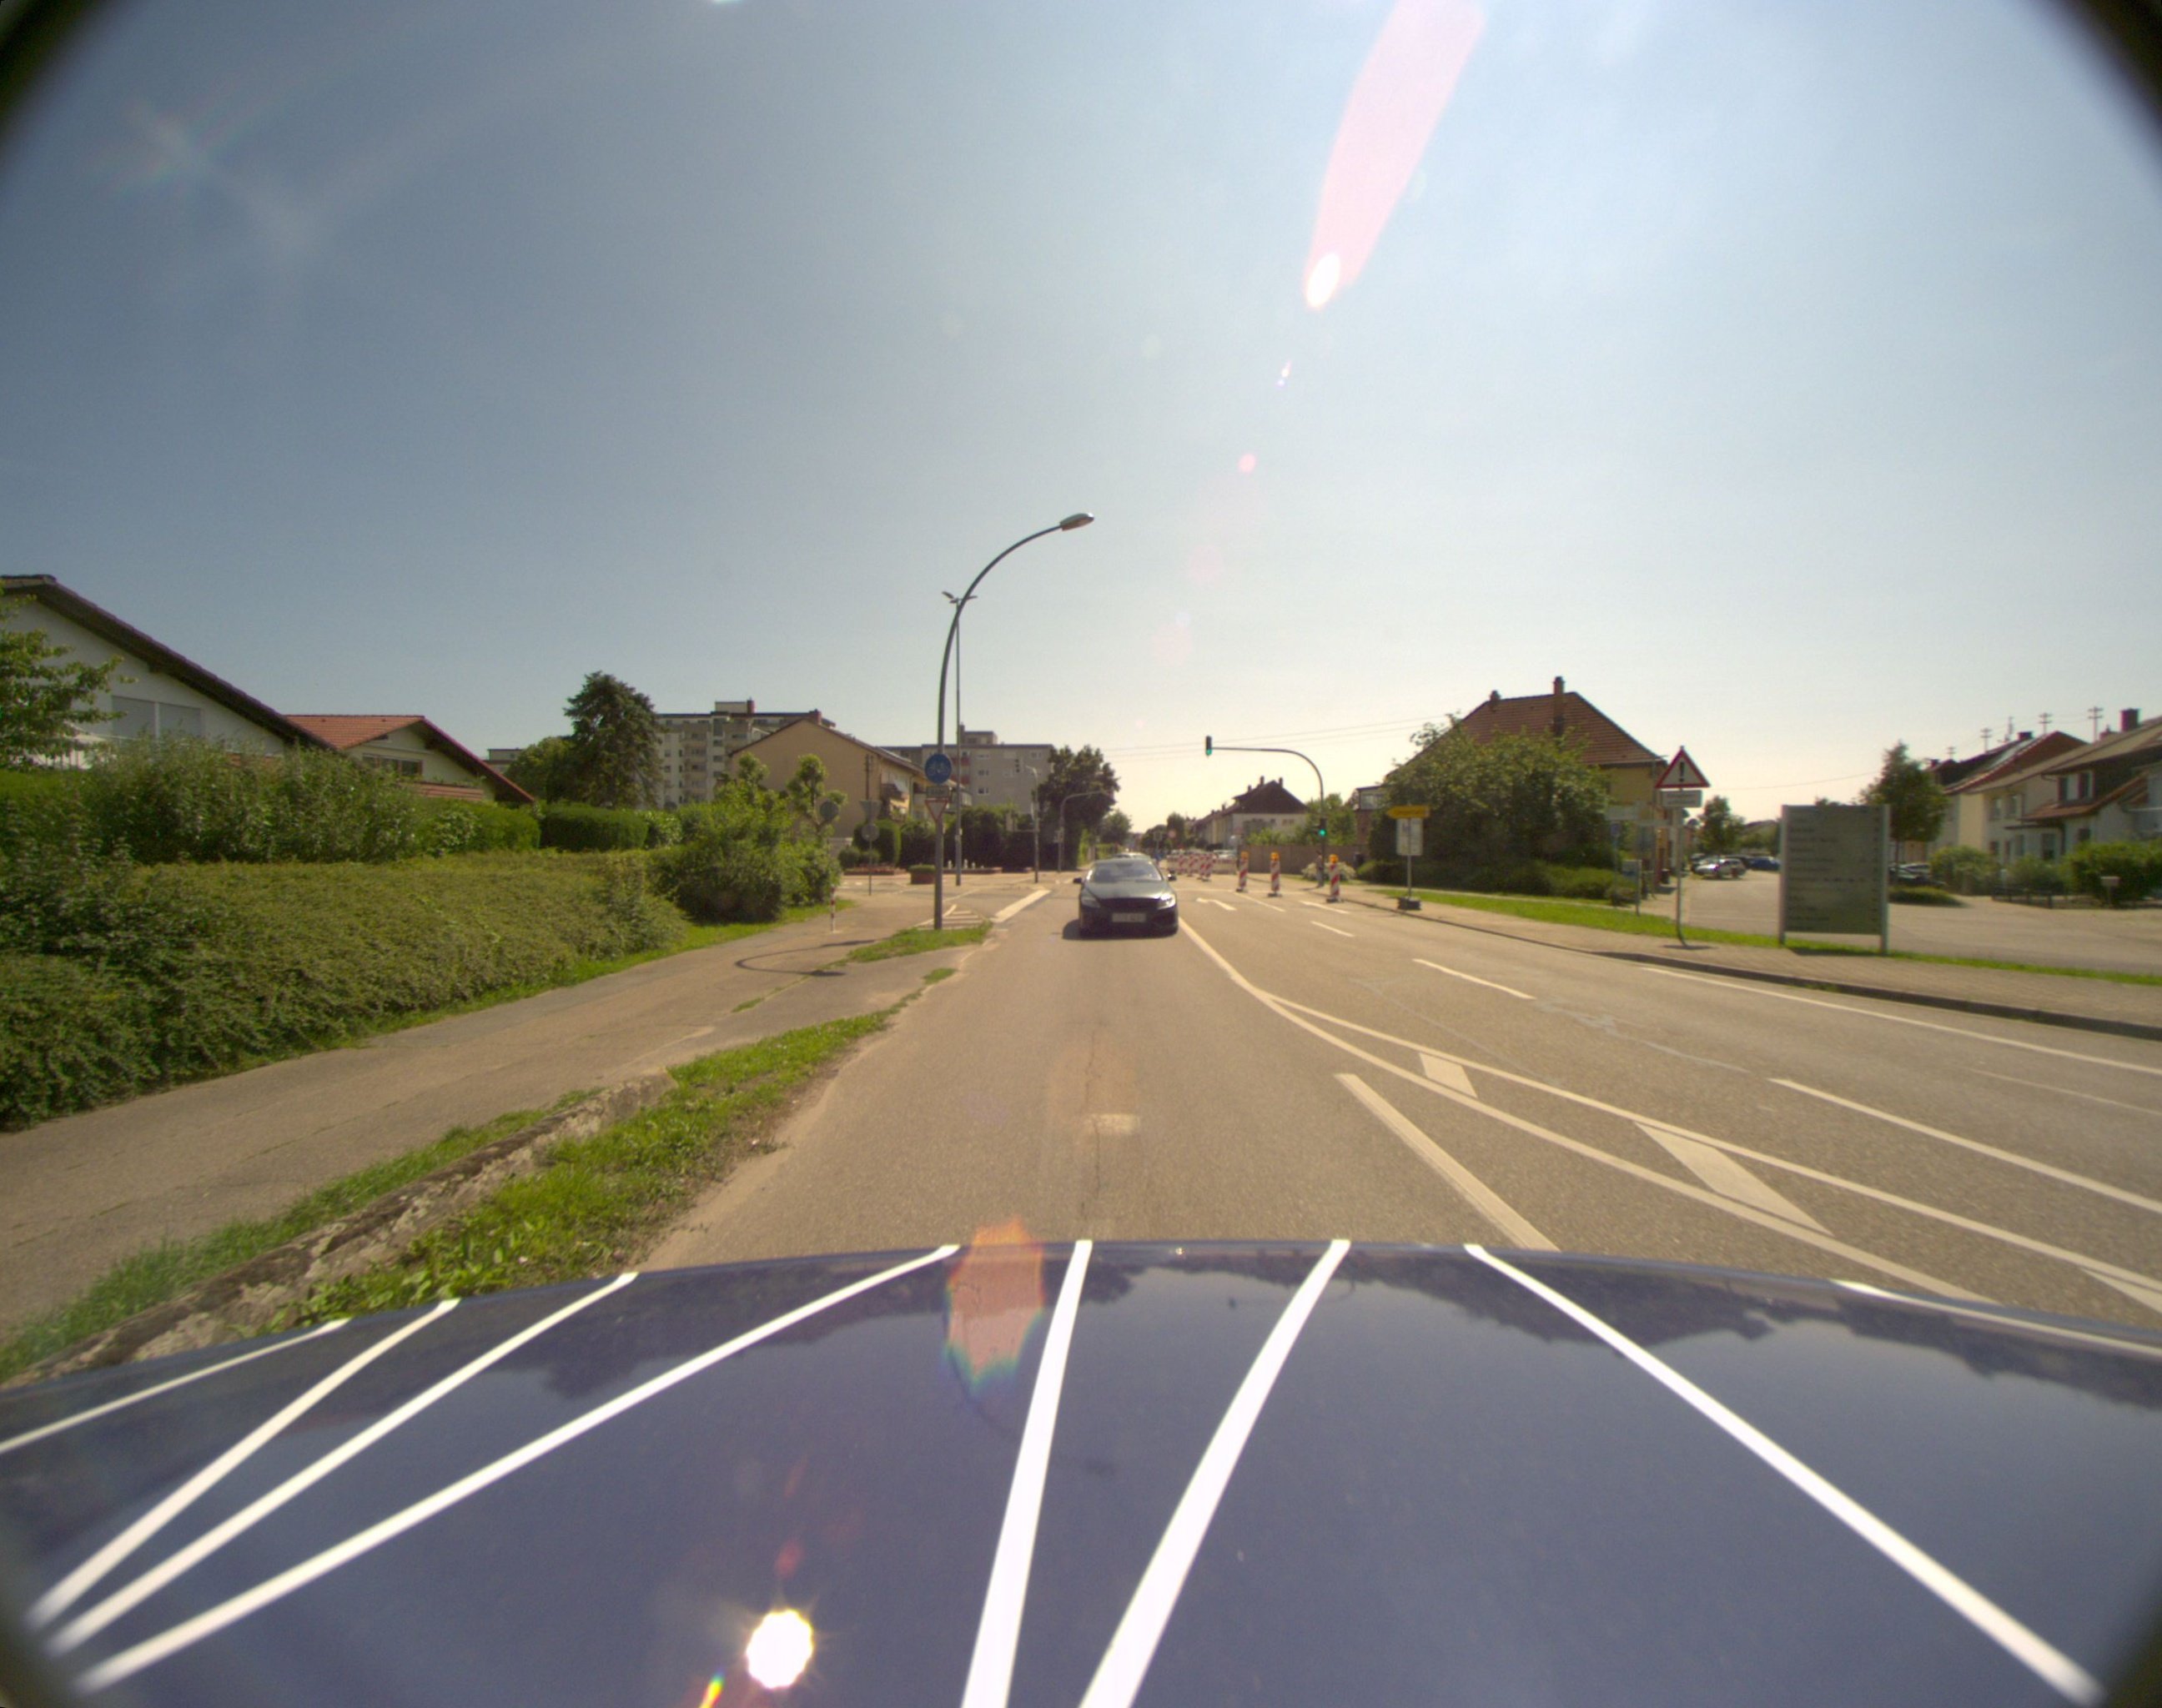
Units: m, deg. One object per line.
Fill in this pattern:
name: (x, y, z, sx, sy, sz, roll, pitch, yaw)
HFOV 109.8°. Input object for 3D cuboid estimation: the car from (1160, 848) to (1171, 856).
car: (15.724, -0.401, 141.912, 1.739, 1.409, 3.916, 0, 1, 1)

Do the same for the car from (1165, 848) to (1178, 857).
car: (14.519, -0.245, 122.285, 1.739, 1.504, 3.916, 0, 1, 1)

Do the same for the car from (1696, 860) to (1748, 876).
car: (57.908, 1.247, 68.651, 3.564, 1.405, 1.381, 1, 1, -1)

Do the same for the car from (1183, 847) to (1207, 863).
car: (12.060, 0.132, 80.462, 1.862, 1.581, 4.228, 2, 1, 1)

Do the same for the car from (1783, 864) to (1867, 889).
car: (44.209, 1.328, 45.251, 3.329, 1.324, 1.424, 1, 1, 32)

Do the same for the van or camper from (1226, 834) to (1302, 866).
van or camper: (16.566, -0.376, 69.000, 6.261, 2.828, 2.289, 0, 1, -6)

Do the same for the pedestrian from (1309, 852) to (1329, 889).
pedestrian: (10.515, 0.737, 33.563, 0.615, 1.598, 0.688, -3, 1, 3)

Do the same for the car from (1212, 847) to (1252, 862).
car: (16.501, 0.097, 83.287, 3.998, 1.607, 1.768, 0, 1, -3)

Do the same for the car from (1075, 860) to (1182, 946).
car: (0.963, 0.901, 15.988, 1.888, 1.429, 4.839, -1, 1, 3)

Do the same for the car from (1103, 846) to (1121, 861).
car: (3.486, -0.044, 84.902, 1.872, 1.586, 4.616, 1, 1, 1)

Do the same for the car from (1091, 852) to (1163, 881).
car: (2.405, 0.629, 40.696, 1.708, 1.395, 3.968, 0, 1, -35)
